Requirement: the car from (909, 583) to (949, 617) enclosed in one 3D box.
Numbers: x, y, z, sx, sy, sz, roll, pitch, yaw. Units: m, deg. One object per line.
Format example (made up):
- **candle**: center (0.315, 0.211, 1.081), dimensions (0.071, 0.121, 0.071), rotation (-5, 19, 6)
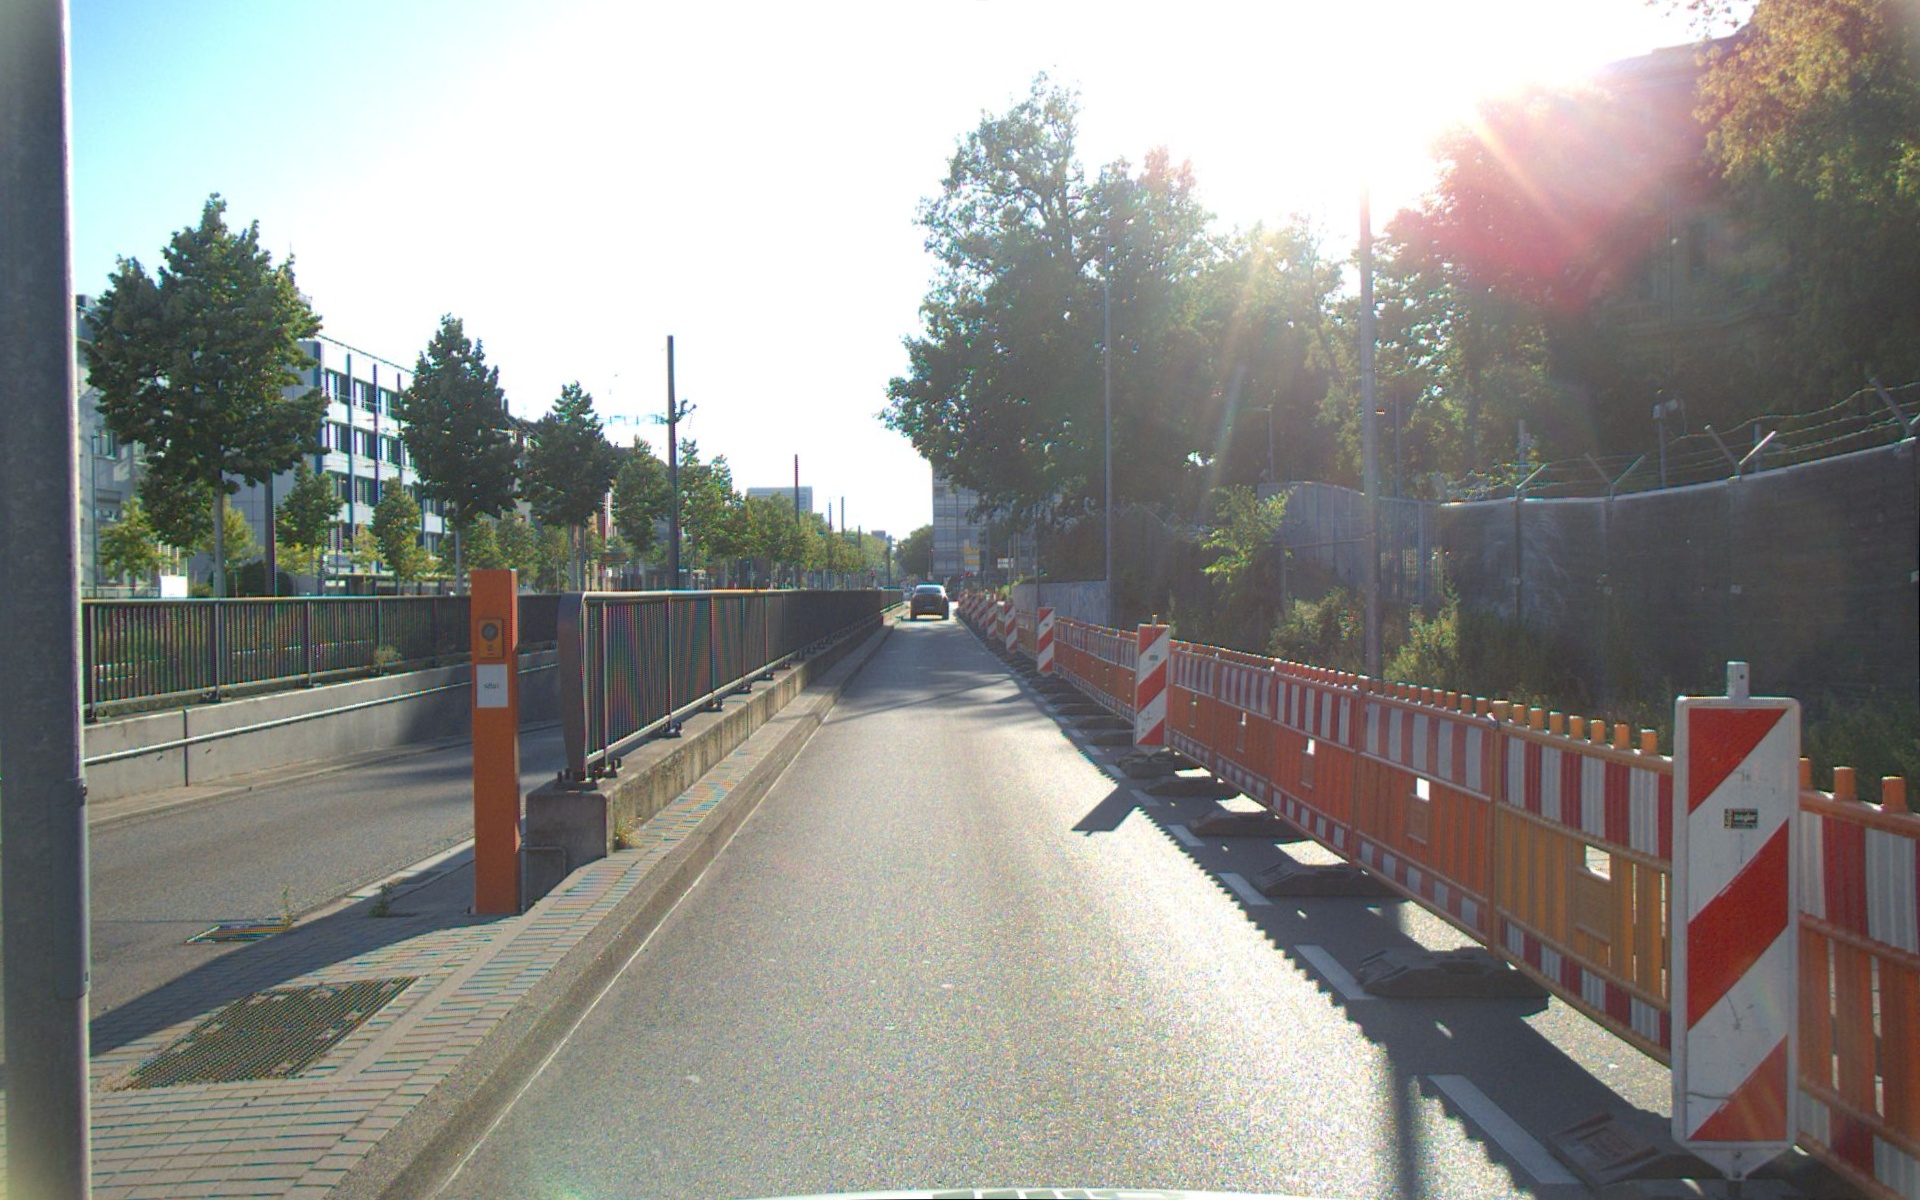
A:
- **car**: center (-1.584, -0.011, 85.462), dimensions (1.964, 1.688, 4.000), rotation (1, 0, 0)
